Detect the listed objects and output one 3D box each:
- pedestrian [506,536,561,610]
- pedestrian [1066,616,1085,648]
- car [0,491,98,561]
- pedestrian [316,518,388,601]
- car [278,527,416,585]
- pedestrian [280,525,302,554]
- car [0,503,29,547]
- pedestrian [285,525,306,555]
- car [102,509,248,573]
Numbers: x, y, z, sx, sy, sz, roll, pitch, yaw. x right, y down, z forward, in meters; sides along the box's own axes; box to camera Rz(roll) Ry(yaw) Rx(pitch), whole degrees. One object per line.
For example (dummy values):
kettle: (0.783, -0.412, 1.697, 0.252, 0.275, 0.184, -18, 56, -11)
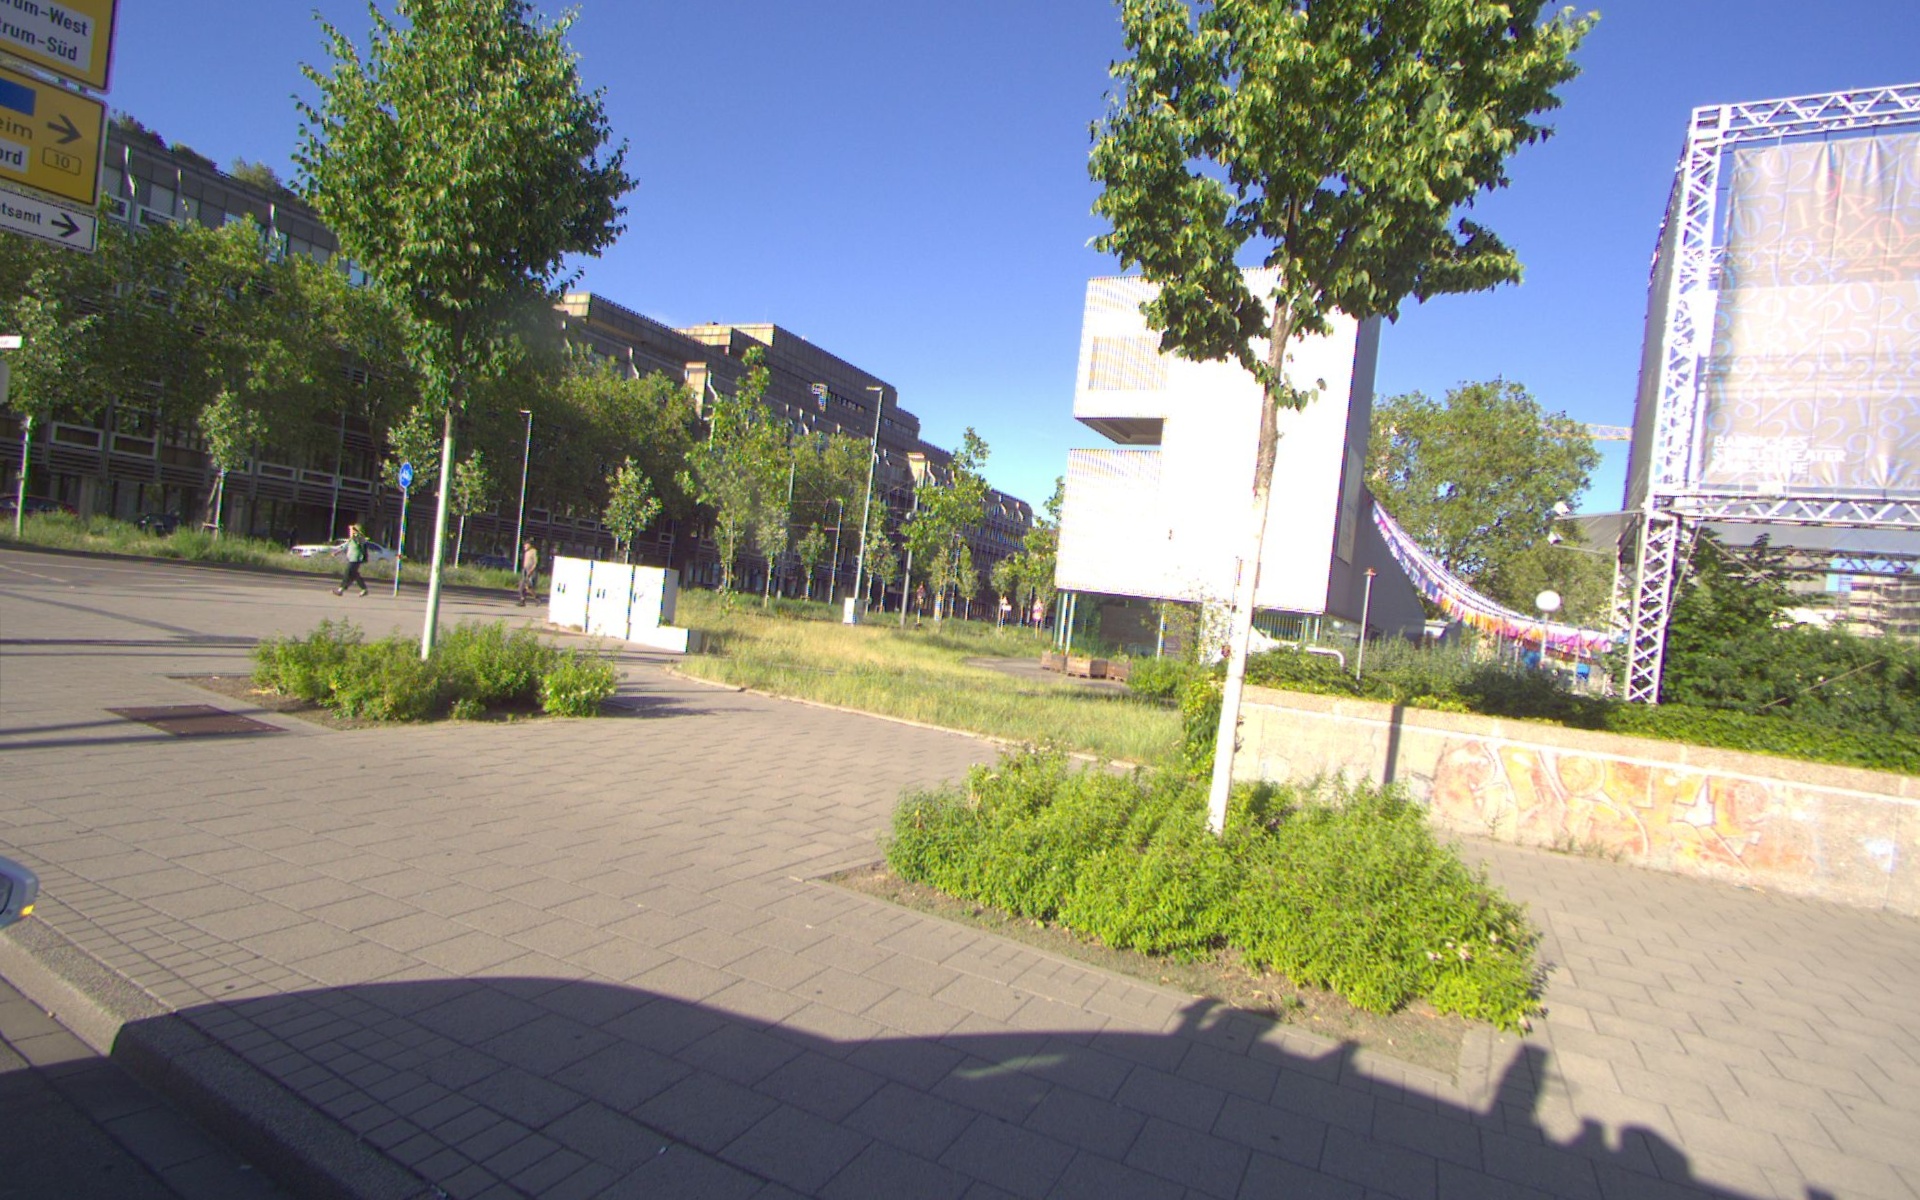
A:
pedestrian: (-10.919, -0.678, 25.767, 0.925, 1.750, 0.695, 7, 1, 18)
pedestrian: (6.619, 1.829, 57.676, 0.614, 1.750, 0.786, 7, 1, 27)
car: (-33.314, -2.707, 35.370, 1.966, 2.037, 3.997, 6, -2, 29)
pedestrian: (-13.182, -0.869, 21.826, 0.925, 1.650, 0.803, 7, 1, 18)
car: (-30.676, -2.177, 50.580, 2.062, 2.036, 5.455, 6, -2, 29)
pedestrian: (-40.768, -3.690, 61.314, 0.728, 1.678, 0.665, 7, 1, 25)
car: (-37.244, -3.039, 36.940, 1.836, 1.525, 3.997, 7, -2, 29)
pedestrian: (-40.131, -3.628, 60.747, 0.728, 1.678, 0.665, 7, 1, 25)
car: (-34.112, -2.525, 43.877, 1.965, 2.036, 4.458, 7, -2, 27)
